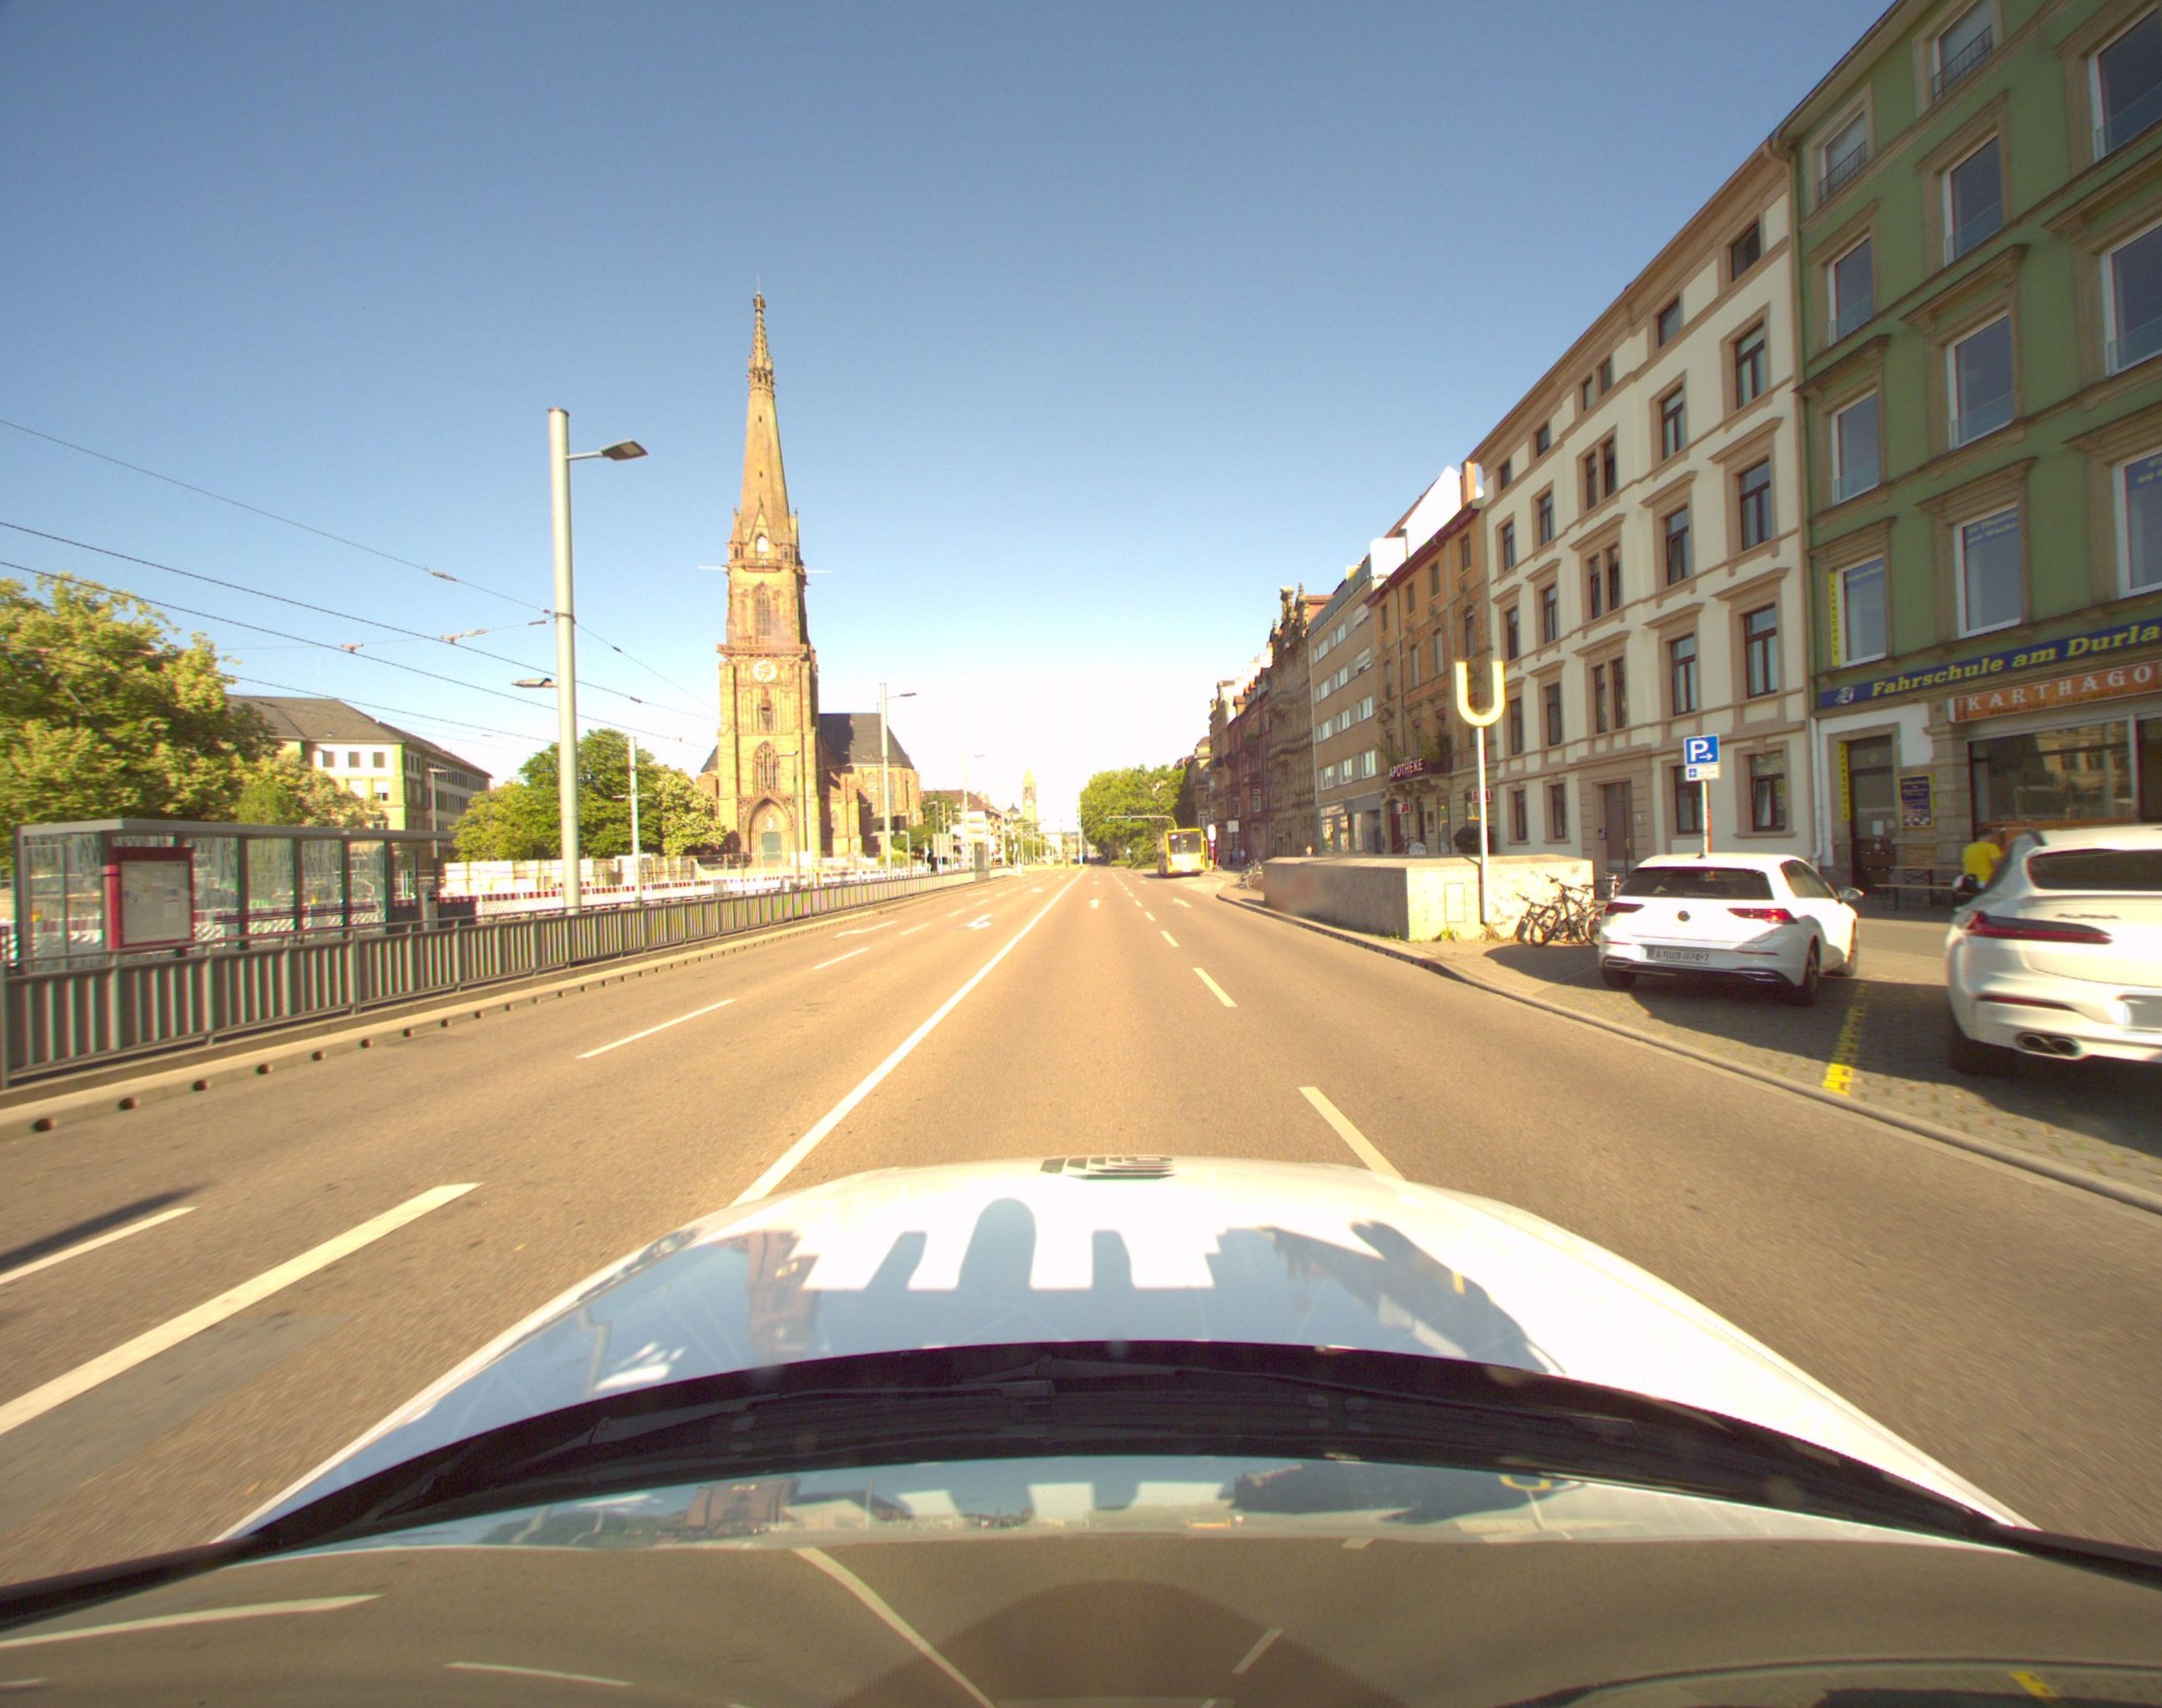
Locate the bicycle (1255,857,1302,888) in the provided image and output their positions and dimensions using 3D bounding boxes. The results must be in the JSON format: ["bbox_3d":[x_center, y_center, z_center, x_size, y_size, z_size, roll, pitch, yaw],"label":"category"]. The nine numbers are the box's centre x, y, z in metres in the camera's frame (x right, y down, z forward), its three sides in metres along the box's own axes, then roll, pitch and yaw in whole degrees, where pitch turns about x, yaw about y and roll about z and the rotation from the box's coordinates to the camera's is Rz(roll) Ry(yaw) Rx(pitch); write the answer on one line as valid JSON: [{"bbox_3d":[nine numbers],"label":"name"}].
[{"bbox_3d":[7.906,0.734,32.572,1.759,1.187,0.470,-2,0,0],"label":"bicycle"}]

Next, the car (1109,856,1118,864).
[{"bbox_3d":[6.638,1.228,166.621,1.637,1.511,4.184,-3,0,2],"label":"car"}]

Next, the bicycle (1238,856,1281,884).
[{"bbox_3d":[7.902,0.706,36.102,1.759,1.187,0.470,-2,0,0],"label":"bicycle"}]

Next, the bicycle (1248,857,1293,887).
[{"bbox_3d":[7.934,0.734,34.099,1.759,1.187,0.470,-2,0,0],"label":"bicycle"}]

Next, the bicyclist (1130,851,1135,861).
[{"bbox_3d":[8.905,0.344,140.951,0.639,1.815,1.052,-3,-1,0],"label":"bicyclist"}]

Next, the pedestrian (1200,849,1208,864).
[{"bbox_3d":[14.360,0.285,94.772,0.700,1.656,1.137,-2,0,1],"label":"pedestrian"}]

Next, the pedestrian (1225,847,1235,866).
[{"bbox_3d":[15.745,0.269,86.070,0.819,1.930,1.137,-2,0,1],"label":"pedestrian"}]

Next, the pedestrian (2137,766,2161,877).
[{"bbox_3d":[16.852,-0.507,12.482,0.511,1.711,0.594,-2,-1,13],"label":"pedestrian"}]

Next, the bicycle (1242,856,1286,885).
[{"bbox_3d":[7.895,0.702,35.097,1.759,1.187,0.470,-2,0,0],"label":"bicycle"}]

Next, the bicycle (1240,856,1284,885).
[{"bbox_3d":[7.897,0.723,35.599,1.785,1.187,0.470,-2,0,0],"label":"bicycle"}]

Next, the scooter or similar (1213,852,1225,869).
[{"bbox_3d":[10.849,0.519,64.070,0.431,1.249,1.291,-4,-1,-8],"label":"scooter or similar"}]

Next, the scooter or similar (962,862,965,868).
[{"bbox_3d":[-26.670,2.490,184.949,0.400,1.261,1.231,-3,2,2],"label":"scooter or similar"}]

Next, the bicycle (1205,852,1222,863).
[{"bbox_3d":[16.503,0.412,101.334,1.884,1.239,0.488,-3,-2,-12],"label":"bicycle"}]

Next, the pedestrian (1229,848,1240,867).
[{"bbox_3d":[15.790,0.357,83.699,0.819,1.930,1.137,-2,0,1],"label":"pedestrian"}]

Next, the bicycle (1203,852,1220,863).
[{"bbox_3d":[16.429,0.470,102.489,1.884,1.239,0.488,-3,-2,-12],"label":"bicycle"}]

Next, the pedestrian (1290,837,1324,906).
[{"bbox_3d":[6.856,0.522,24.723,0.748,2.013,0.698,-3,2,1],"label":"pedestrian"}]

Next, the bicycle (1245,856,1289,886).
[{"bbox_3d":[7.906,0.725,34.602,1.759,1.187,0.470,-2,0,0],"label":"bicycle"}]

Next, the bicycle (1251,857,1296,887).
[{"bbox_3d":[7.928,0.739,33.580,1.759,1.187,0.470,-2,0,0],"label":"bicycle"}]

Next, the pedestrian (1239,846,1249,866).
[{"bbox_3d":[16.759,0.196,83.697,0.819,1.930,1.137,-2,0,1],"label":"pedestrian"}]

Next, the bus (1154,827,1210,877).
[{"bbox_3d":[7.271,-0.121,60.573,2.705,3.181,12.543,-3,0,1],"label":"bus"}]

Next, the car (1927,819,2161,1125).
[{"bbox_3d":[7.194,0.581,5.535,4.275,1.570,1.936,-1,0,-43],"label":"car"}]

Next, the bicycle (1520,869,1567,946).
[{"bbox_3d":[7.161,0.807,12.597,0.414,1.110,1.102,0,0,42],"label":"bicycle"}]

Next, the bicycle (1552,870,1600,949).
[{"bbox_3d":[7.488,0.812,12.306,0.414,1.110,1.102,0,0,42],"label":"bicycle"}]

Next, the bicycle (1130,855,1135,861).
[{"bbox_3d":[8.934,0.699,140.895,0.639,1.048,2.360,-3,-1,0],"label":"bicycle"}]

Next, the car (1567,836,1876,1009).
[{"bbox_3d":[7.346,0.597,9.198,4.135,1.464,1.938,-2,0,-41],"label":"car"}]

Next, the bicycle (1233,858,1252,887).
[{"bbox_3d":[6.750,0.765,34.034,0.467,1.147,1.771,-1,1,1],"label":"bicycle"}]

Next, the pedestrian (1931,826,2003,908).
[{"bbox_3d":[14.877,0.215,13.683,0.514,1.319,0.590,-2,-1,-6],"label":"pedestrian"}]

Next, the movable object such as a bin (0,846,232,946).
[{"bbox_3d":[-29.453,1.133,24.783,2.633,2.525,5.141,-4,3,-17],"label":"movable object such as a bin"}]

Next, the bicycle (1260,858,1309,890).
[{"bbox_3d":[7.894,0.757,31.572,1.759,1.178,0.470,-2,0,0],"label":"bicycle"}]

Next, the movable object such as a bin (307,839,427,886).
[{"bbox_3d":[-28.056,0.296,32.160,1.169,1.586,3.866,-3,2,0],"label":"movable object such as a bin"}]

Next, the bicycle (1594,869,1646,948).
[{"bbox_3d":[8.173,0.798,12.344,0.503,1.110,1.102,0,0,42],"label":"bicycle"}]

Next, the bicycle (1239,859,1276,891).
[{"bbox_3d":[6.758,0.790,31.321,0.470,1.147,1.758,-2,1,-22],"label":"bicycle"}]

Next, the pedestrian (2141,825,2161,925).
[{"bbox_3d":[14.416,0.270,10.564,0.512,1.319,0.593,-2,-1,8],"label":"pedestrian"}]
